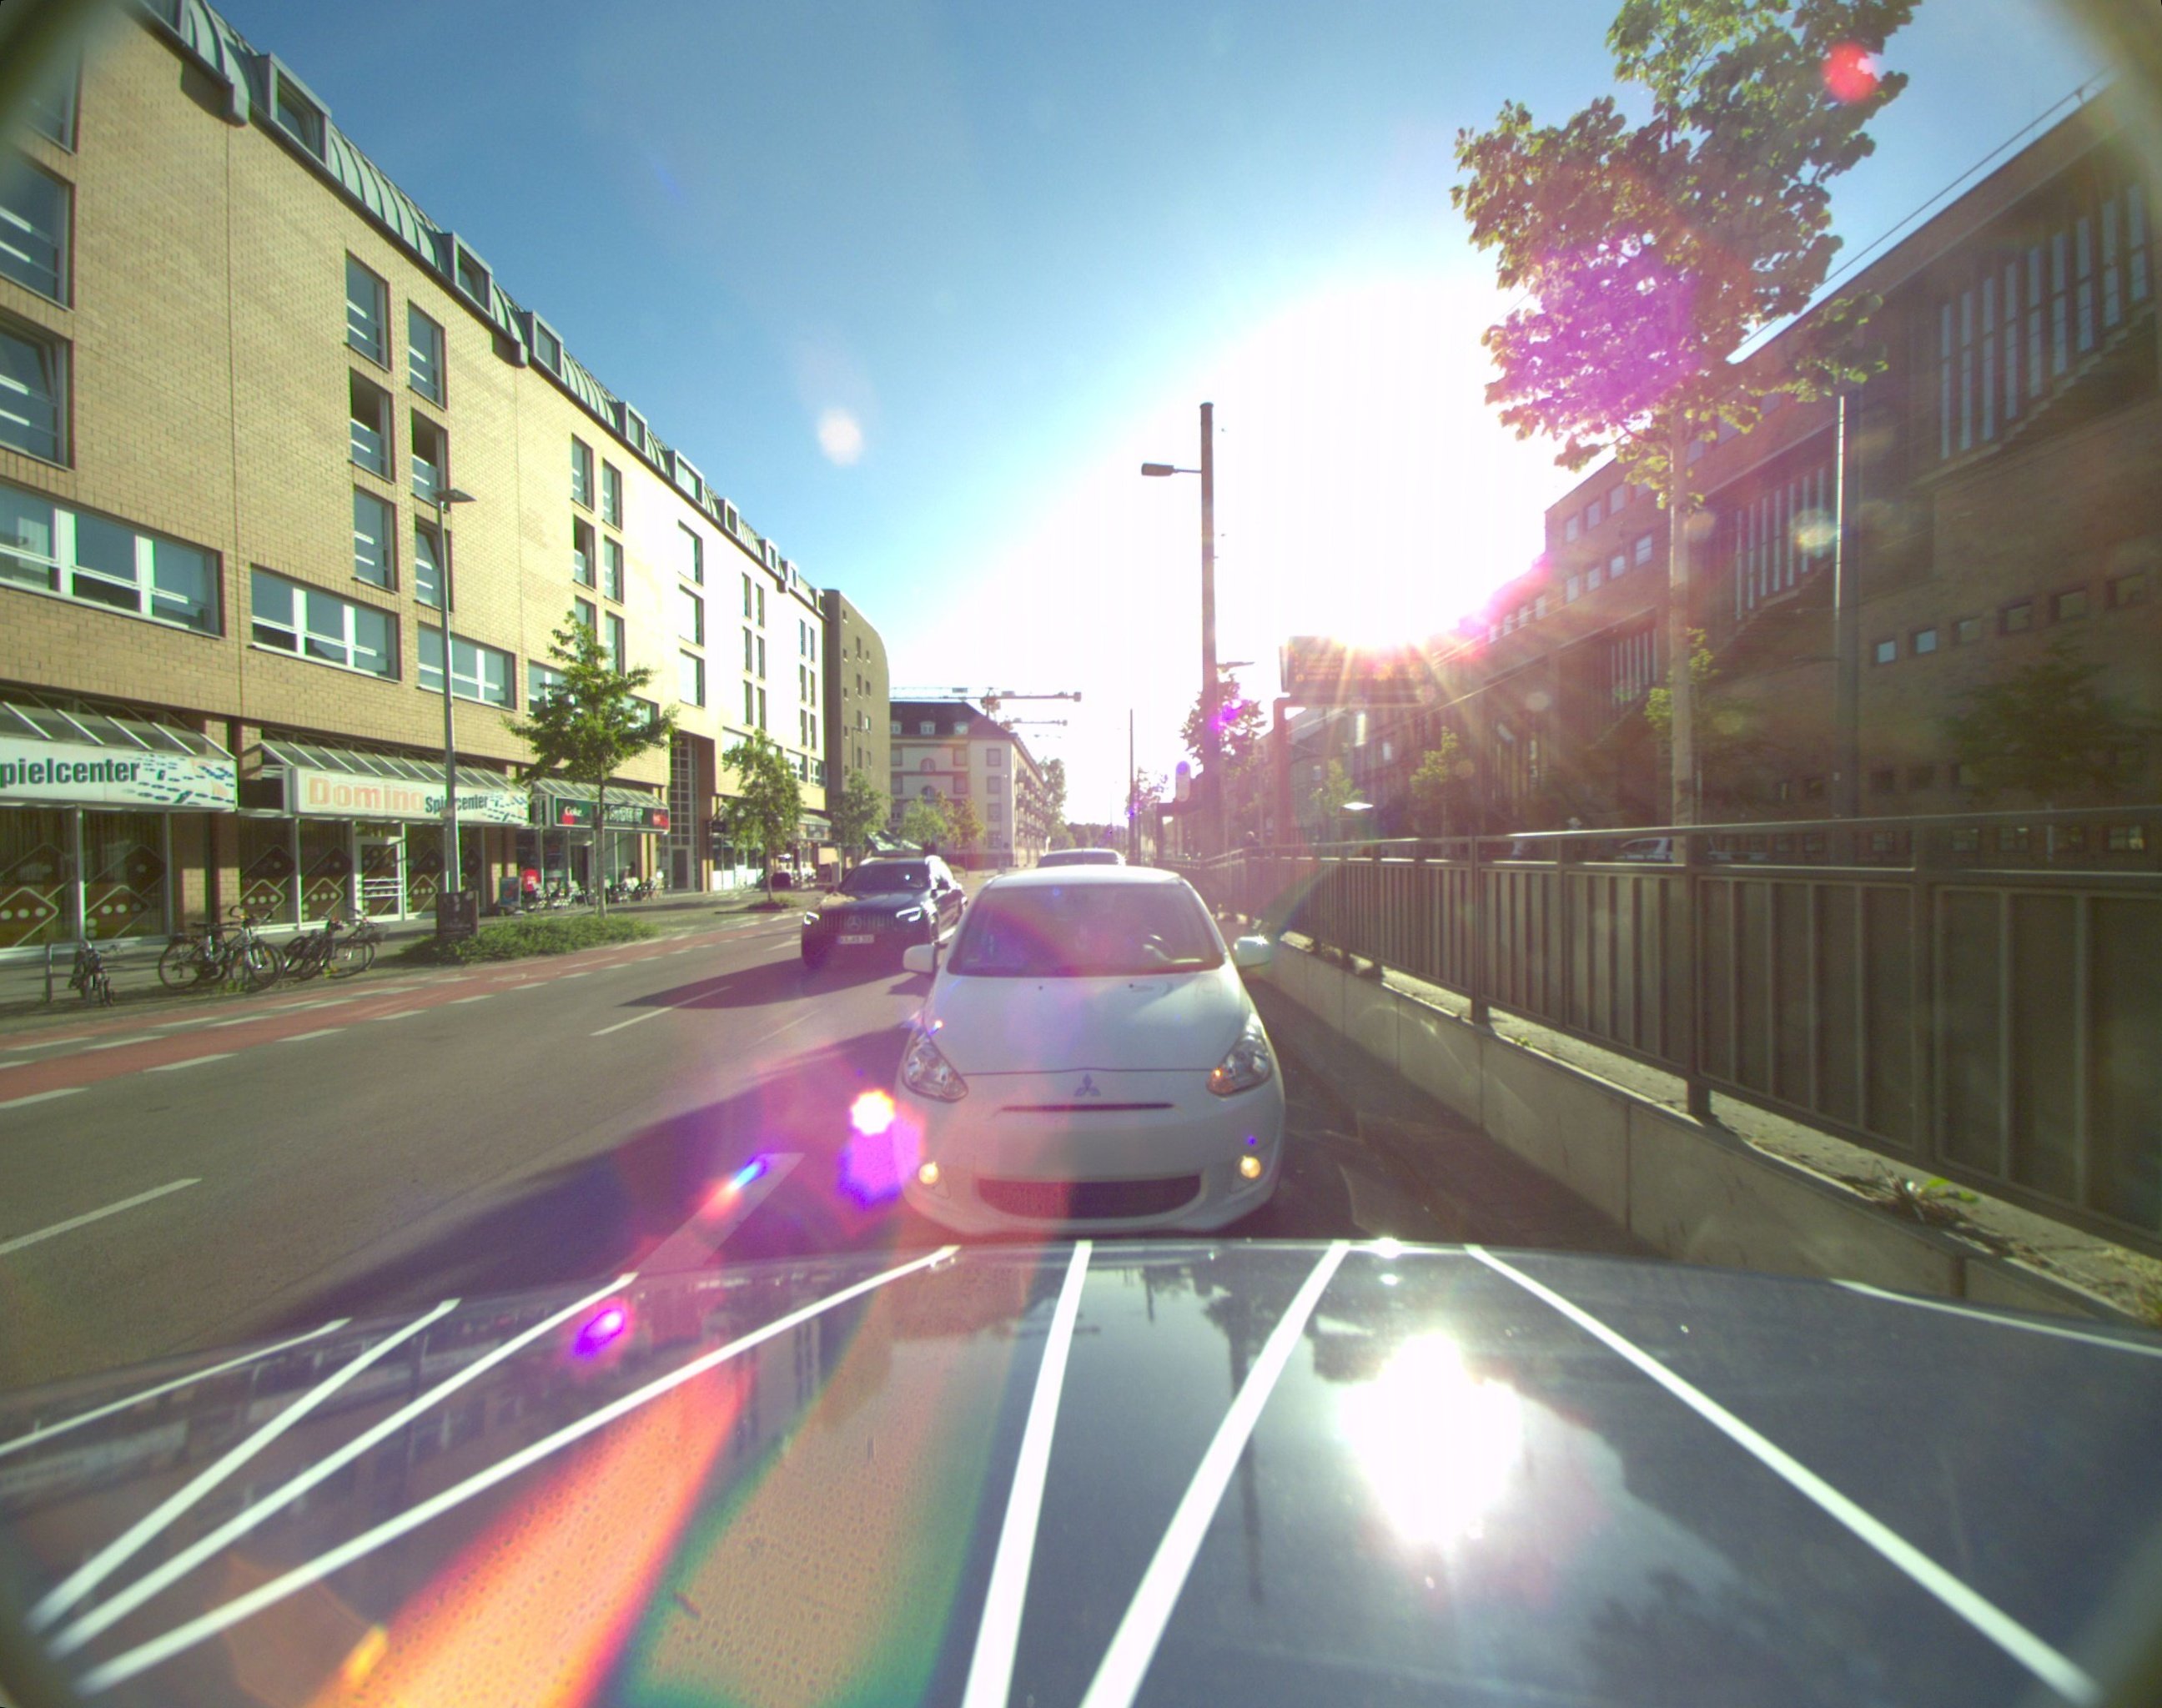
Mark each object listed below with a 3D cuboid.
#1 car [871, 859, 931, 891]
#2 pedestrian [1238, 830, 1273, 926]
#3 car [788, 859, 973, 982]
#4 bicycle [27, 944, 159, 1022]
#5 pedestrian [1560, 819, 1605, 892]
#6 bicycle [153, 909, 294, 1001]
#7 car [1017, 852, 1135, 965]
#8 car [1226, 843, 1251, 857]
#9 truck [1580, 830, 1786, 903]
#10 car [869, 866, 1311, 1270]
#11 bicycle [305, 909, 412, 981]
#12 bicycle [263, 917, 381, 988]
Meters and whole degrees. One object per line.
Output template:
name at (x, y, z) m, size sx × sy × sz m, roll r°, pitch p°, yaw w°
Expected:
car at (-9.820, 1.123, 41.781) m, size 1.778 × 1.630 × 4.002 m, roll -1°, pitch 0°, yaw 9°
pedestrian at (4.521, 0.610, 19.732) m, size 0.684 × 2.428 × 0.626 m, roll -2°, pitch 2°, yaw -2°
car at (-3.110, 0.943, 12.831) m, size 1.808 × 1.586 × 4.453 m, roll -3°, pitch 0°, yaw 1°
bicycle at (-12.700, 1.634, 9.765) m, size 1.772 × 0.827 × 0.366 m, roll 1°, pitch 2°, yaw 15°
pedestrian at (12.736, 0.036, 19.311) m, size 0.685 × 1.797 × 0.668 m, roll -2°, pitch 2°, yaw 0°
bicycle at (-12.330, 1.423, 10.932) m, size 1.835 × 1.156 × 0.565 m, roll 1°, pitch 2°, yaw 15°
car at (-0.075, 0.819, 13.605) m, size 1.720 × 1.591 × 4.215 m, roll -2°, pitch 1°, yaw 0°
car at (17.287, -0.444, 83.685) m, size 1.830 × 1.559 × 4.240 m, roll 0°, pitch 1°, yaw 0°
truck at (17.591, 0.329, 22.640) m, size 1.999 × 1.868 × 5.155 m, roll 1°, pitch 0°, yaw 0°
car at (0.037, 0.901, 5.169) m, size 1.720 × 1.422 × 4.215 m, roll -2°, pitch 1°, yaw 0°
bicycle at (-11.892, 1.484, 12.507) m, size 1.835 × 1.050 × 0.350 m, roll 1°, pitch 2°, yaw 15°
bicycle at (-12.014, 1.539, 12.028) m, size 1.835 × 0.980 × 0.449 m, roll 1°, pitch 2°, yaw 15°
